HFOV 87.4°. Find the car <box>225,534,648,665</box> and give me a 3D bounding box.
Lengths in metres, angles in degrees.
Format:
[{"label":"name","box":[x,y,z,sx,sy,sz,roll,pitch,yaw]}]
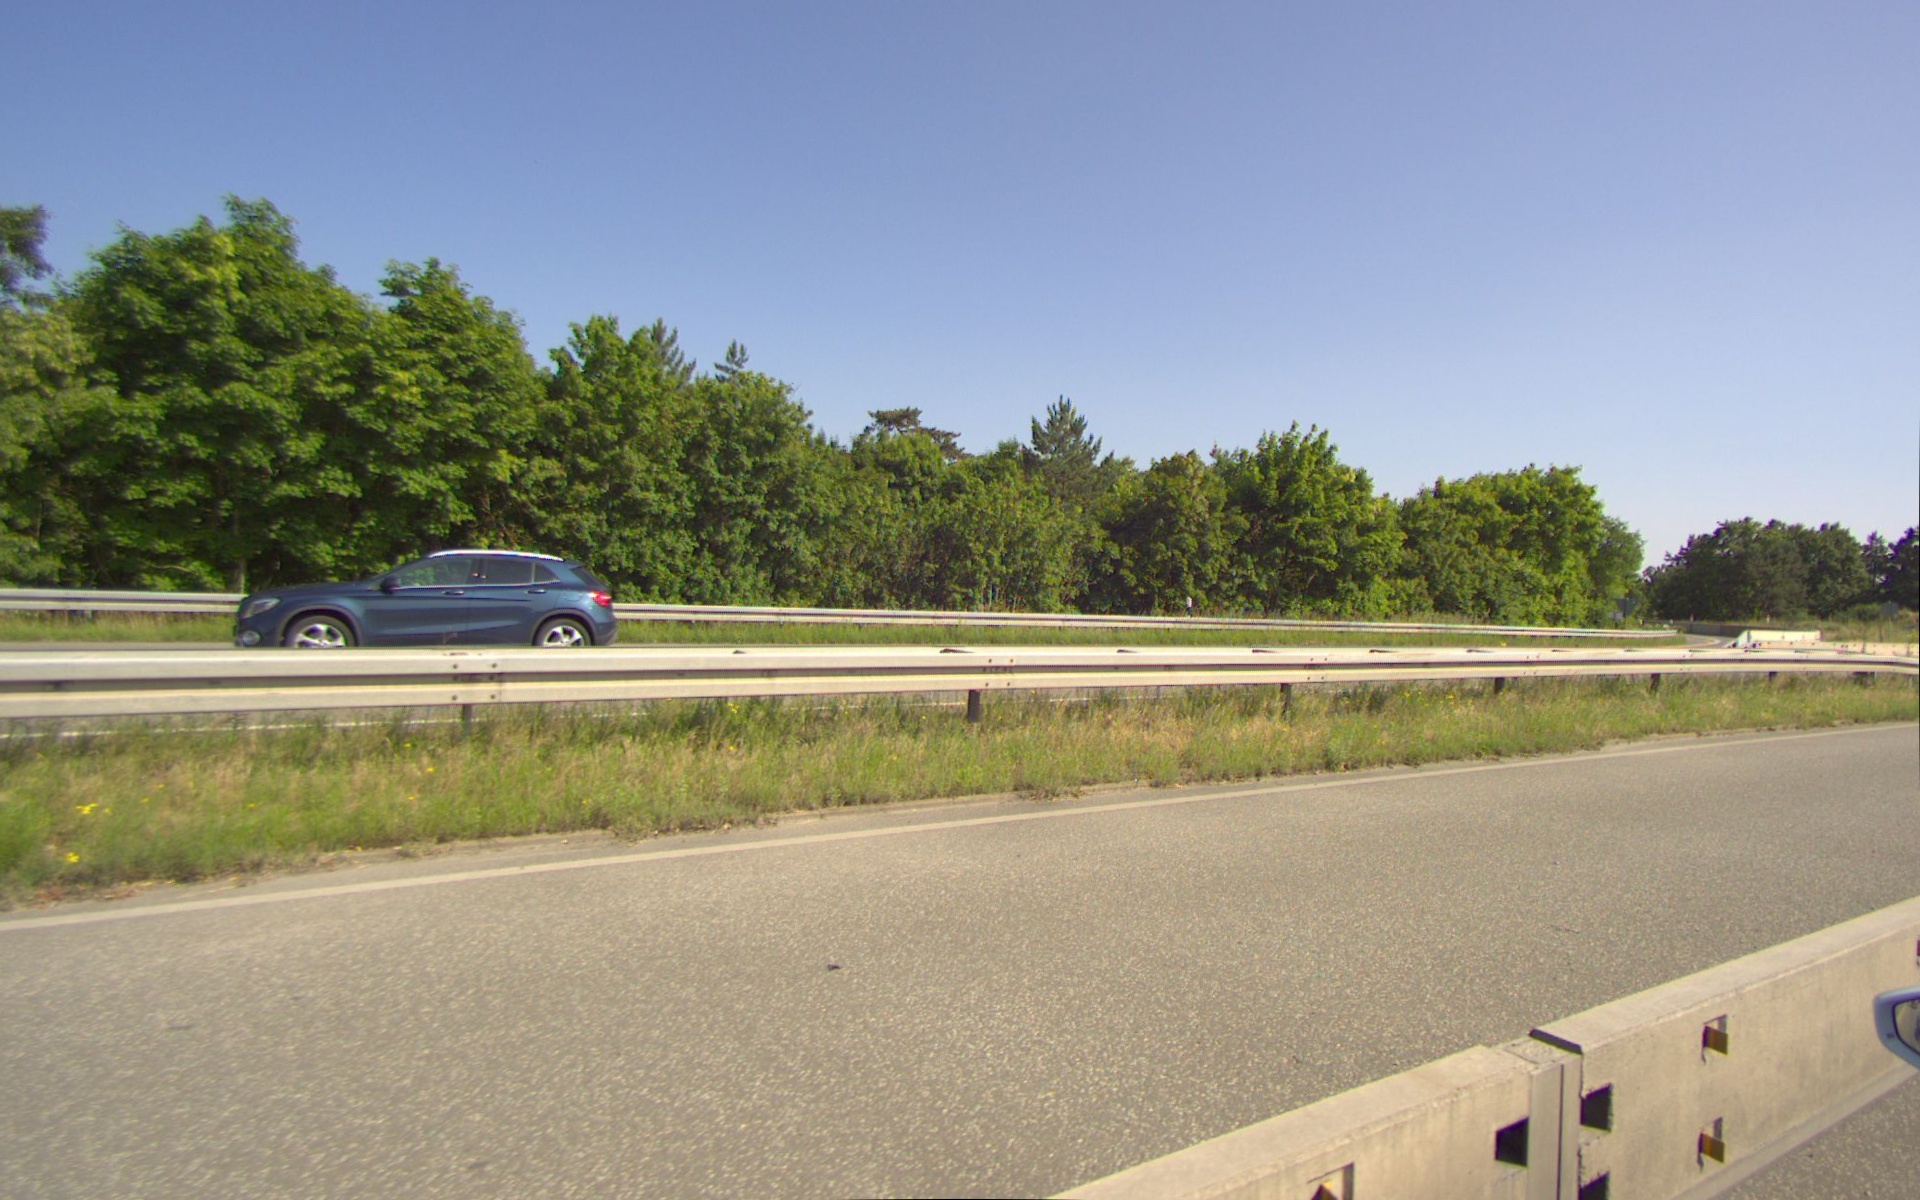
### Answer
[{"label":"car","box":[-6.584,0.027,13.036,4.538,1.453,1.788,2,1,-30]}]
